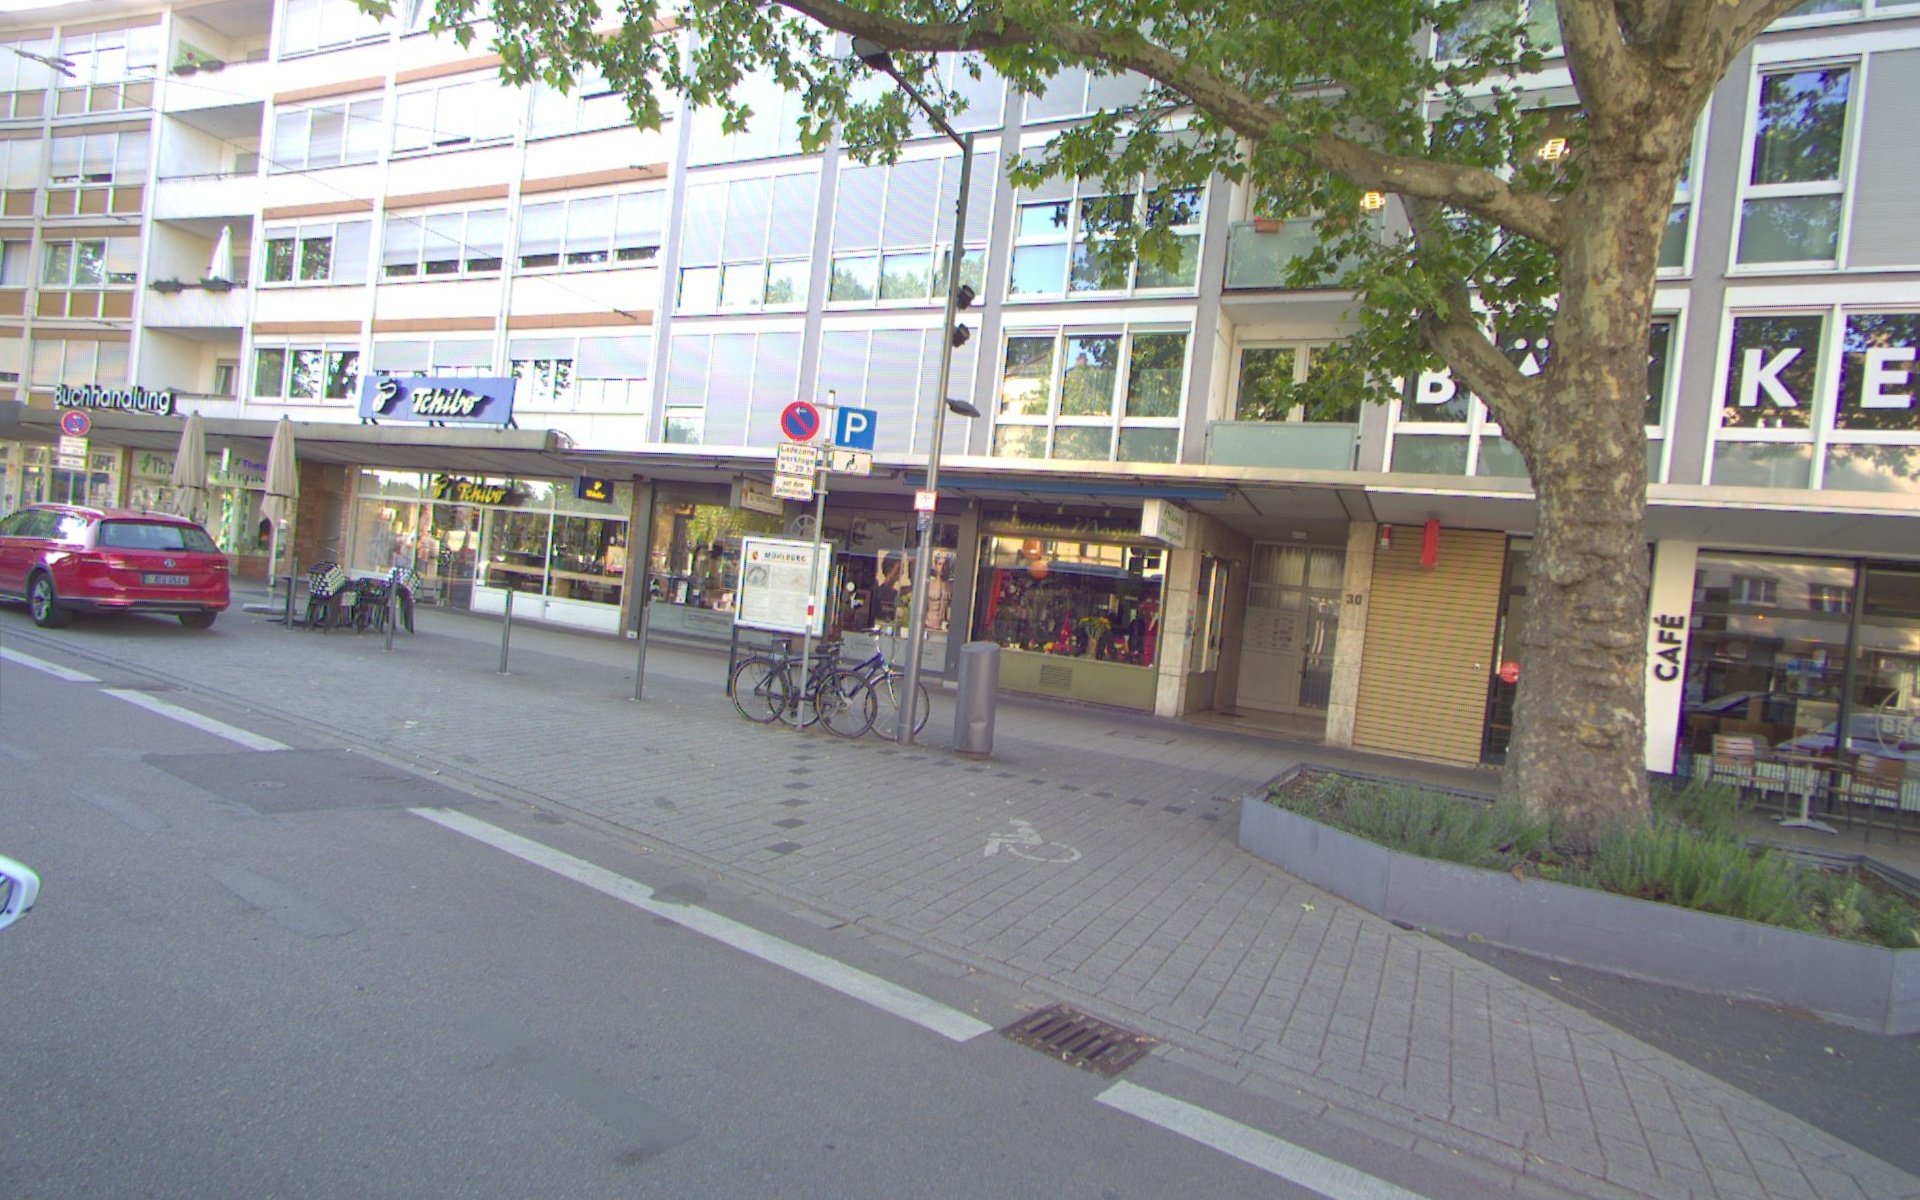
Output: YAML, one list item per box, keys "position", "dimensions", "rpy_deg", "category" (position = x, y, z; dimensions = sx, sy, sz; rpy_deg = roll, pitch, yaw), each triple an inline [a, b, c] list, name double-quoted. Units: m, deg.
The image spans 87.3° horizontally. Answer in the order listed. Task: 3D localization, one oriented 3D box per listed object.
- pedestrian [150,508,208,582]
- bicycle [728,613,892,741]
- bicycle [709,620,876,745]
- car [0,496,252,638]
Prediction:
- position: [-17.734, -1.245, 22.852]
  dimensions: [0.793, 1.571, 0.641]
  rpy_deg: [7, 1, 24]
  category: "pedestrian"
- position: [-1.603, 0.795, 10.673]
  dimensions: [1.686, 1.117, 0.294]
  rpy_deg: [6, 4, 17]
  category: "bicycle"
- position: [-1.750, 0.835, 10.423]
  dimensions: [1.686, 1.055, 0.294]
  rpy_deg: [6, 4, 17]
  category: "bicycle"
- position: [-11.753, -0.506, 13.504]
  dimensions: [4.488, 1.516, 1.780]
  rpy_deg: [6, 2, 28]
  category: "car"
